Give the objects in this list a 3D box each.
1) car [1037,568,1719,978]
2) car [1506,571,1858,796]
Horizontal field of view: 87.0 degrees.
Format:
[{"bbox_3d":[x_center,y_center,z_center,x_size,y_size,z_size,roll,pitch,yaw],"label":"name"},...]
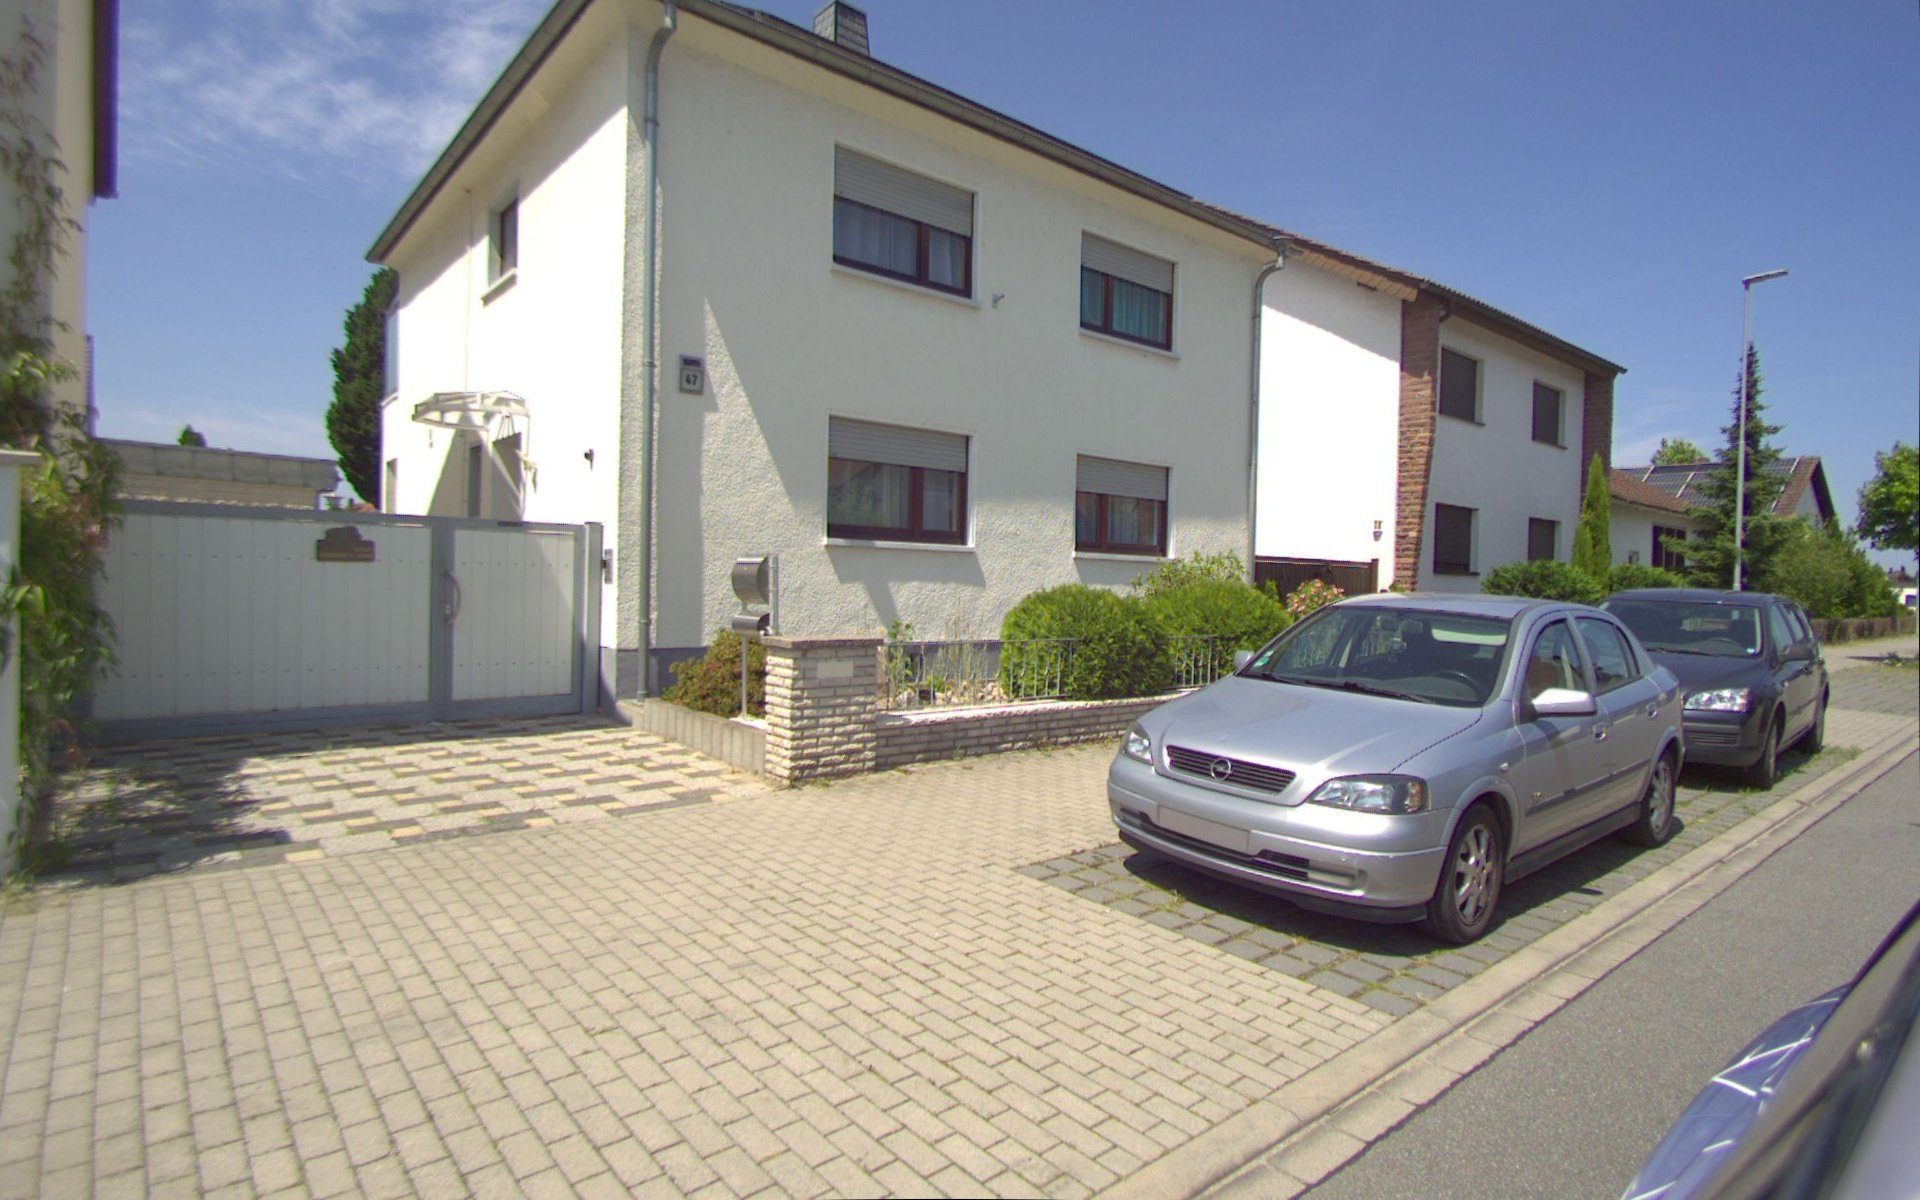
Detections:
[{"bbox_3d":[2.505,0.603,5.588,4.020,1.438,1.818,1,1,-40],"label":"car"},{"bbox_3d":[6.709,0.564,9.197,4.373,1.552,1.744,0,2,-43],"label":"car"}]
